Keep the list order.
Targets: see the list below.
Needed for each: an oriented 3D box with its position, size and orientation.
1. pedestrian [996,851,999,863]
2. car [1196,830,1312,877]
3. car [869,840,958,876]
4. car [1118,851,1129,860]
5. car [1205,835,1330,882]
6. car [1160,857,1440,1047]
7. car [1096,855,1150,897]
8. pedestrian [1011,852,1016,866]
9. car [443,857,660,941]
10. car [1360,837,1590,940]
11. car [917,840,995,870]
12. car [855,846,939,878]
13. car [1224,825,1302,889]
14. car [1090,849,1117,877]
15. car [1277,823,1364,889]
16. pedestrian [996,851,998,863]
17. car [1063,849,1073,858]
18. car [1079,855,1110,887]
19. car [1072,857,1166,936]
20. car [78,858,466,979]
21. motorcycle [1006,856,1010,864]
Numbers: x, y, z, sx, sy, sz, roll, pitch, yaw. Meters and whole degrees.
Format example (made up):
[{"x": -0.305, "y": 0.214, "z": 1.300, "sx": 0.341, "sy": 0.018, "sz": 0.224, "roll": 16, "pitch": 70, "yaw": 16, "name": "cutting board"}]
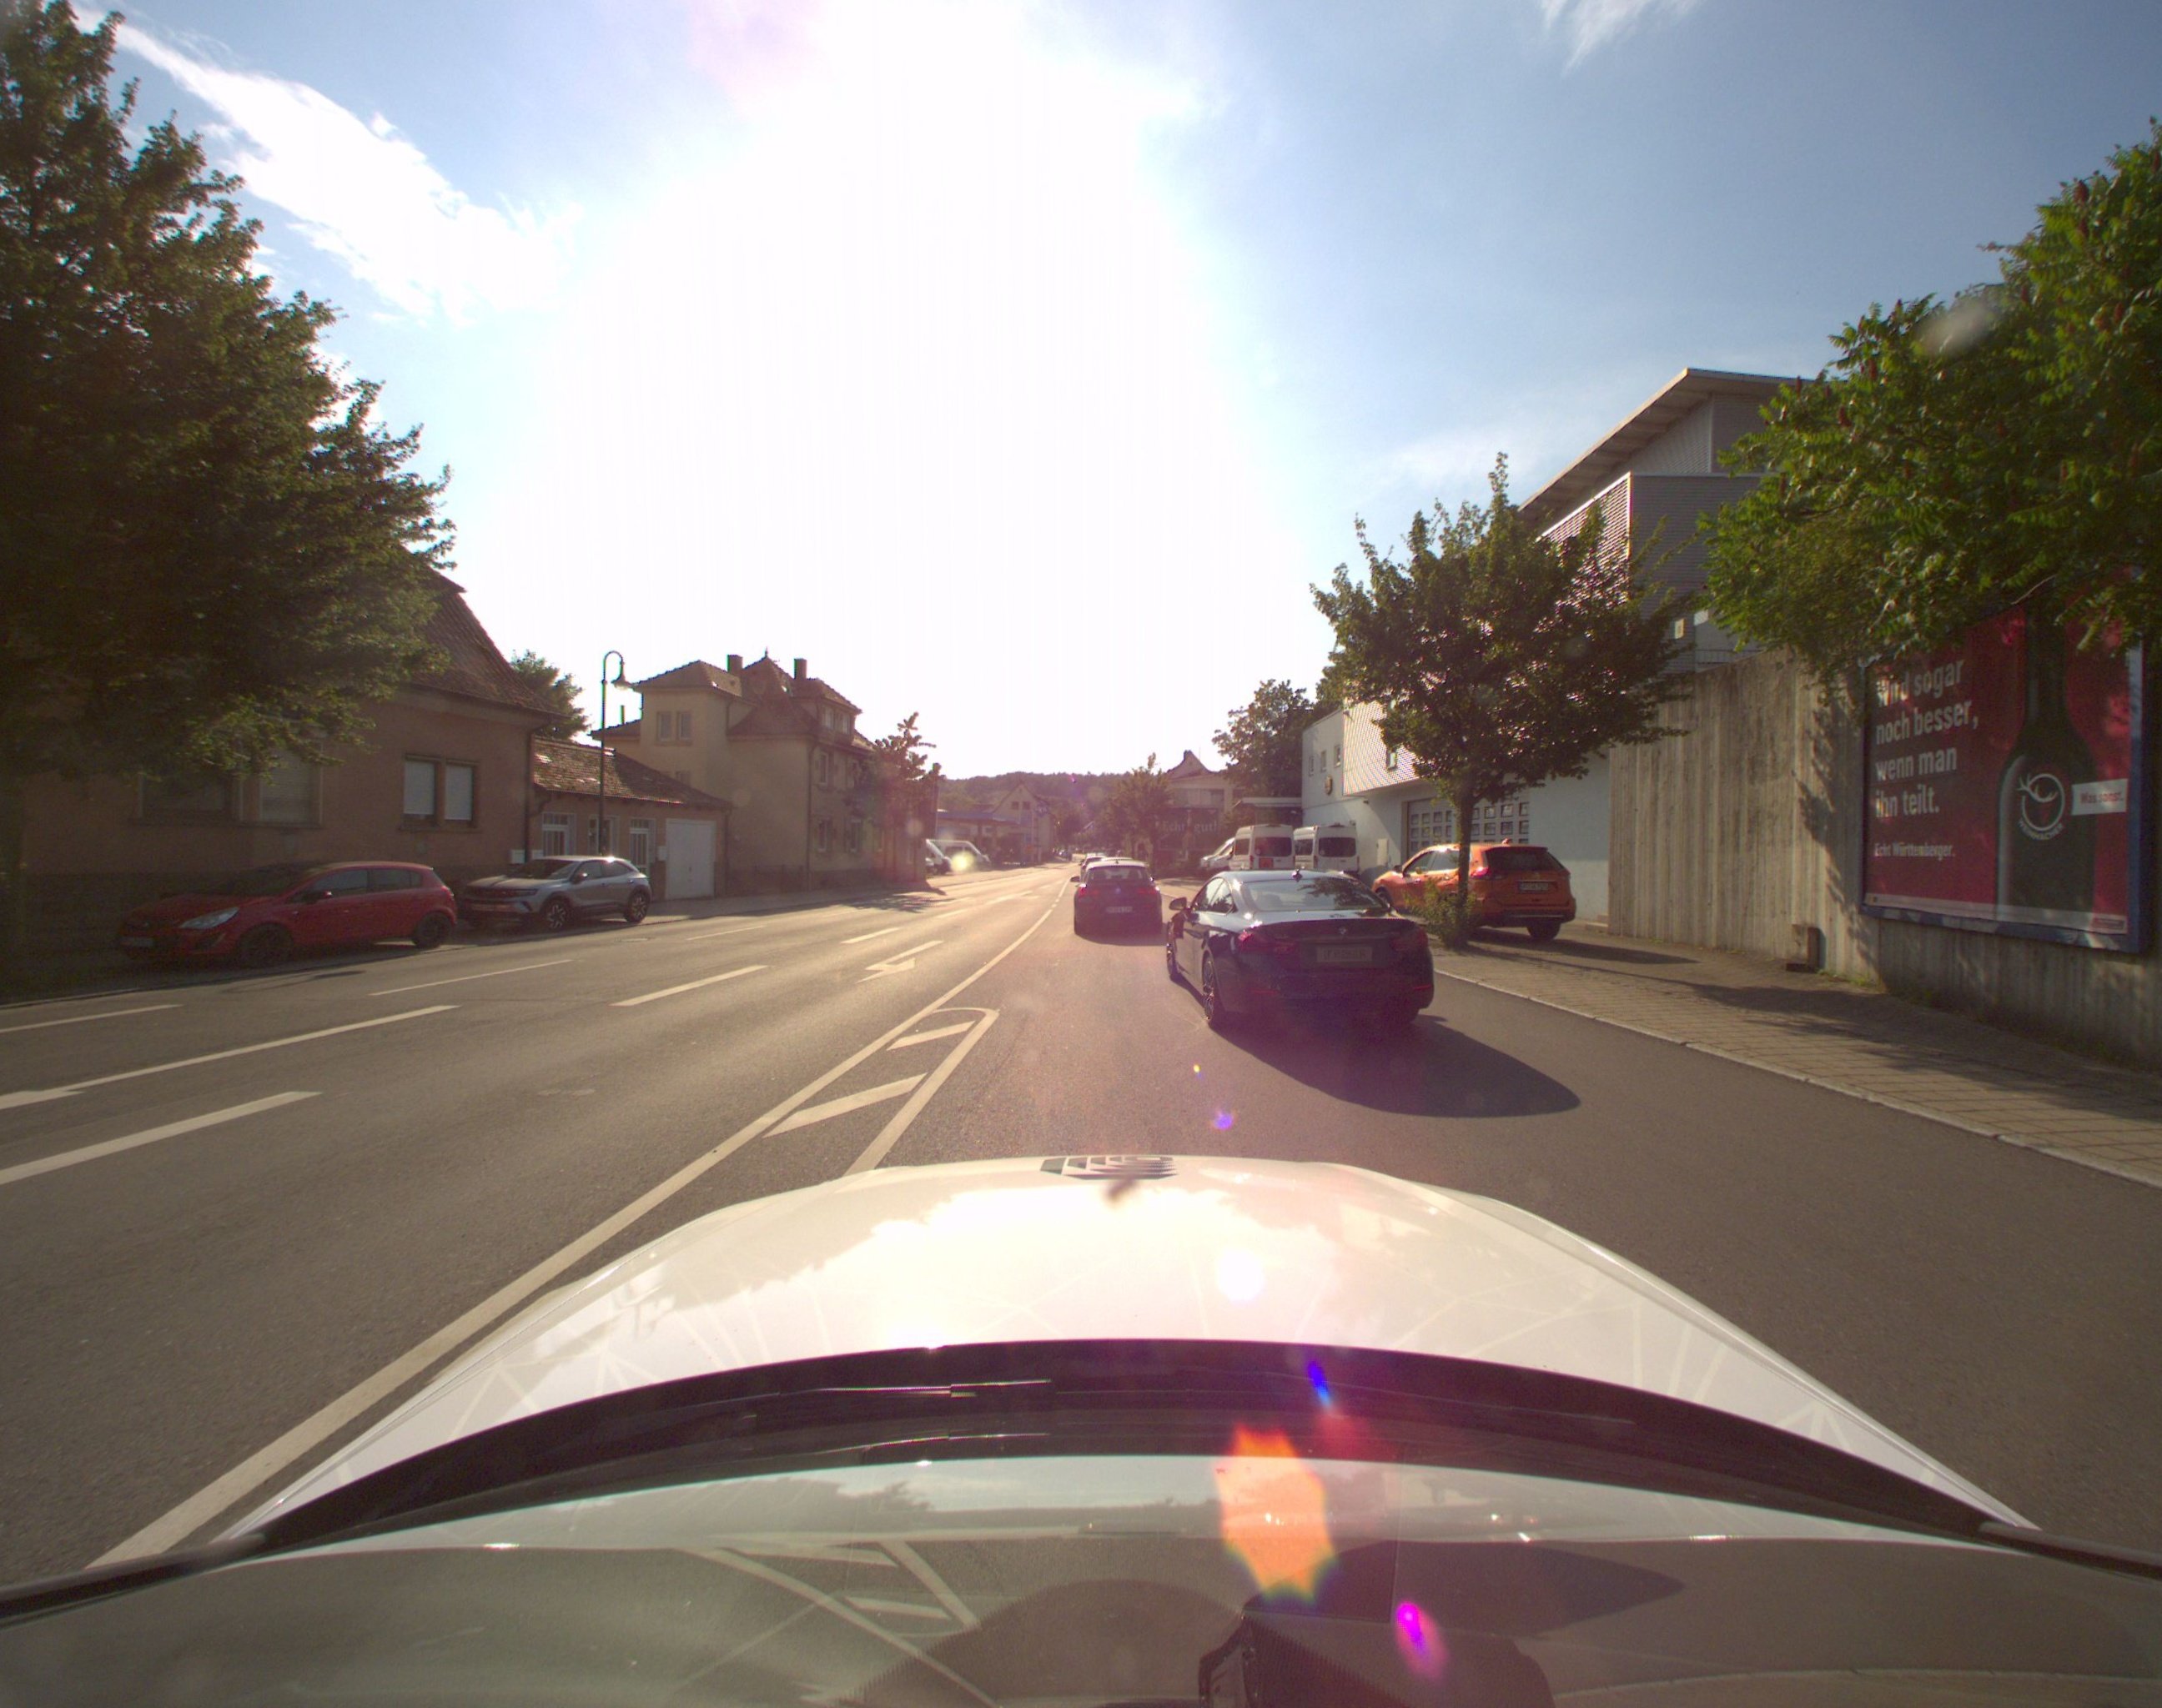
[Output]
[{"x": -10.066, "y": 0.351, "z": 98.495, "sx": 0.286, "sy": 1.366, "sz": 0.262, "roll": 0, "pitch": 0, "yaw": -3, "name": "pedestrian"}, {"x": 9.510, "y": -0.013, "z": 45.079, "sx": 6.025, "sy": 2.516, "sz": 2.043, "roll": 0, "pitch": 0, "yaw": -1, "name": "car"}, {"x": -12.160, "y": 0.255, "z": 59.284, "sx": 5.890, "sy": 2.480, "sz": 2.197, "roll": 1, "pitch": 1, "yaw": 6, "name": "car"}, {"x": 6.947, "y": 0.253, "z": 134.114, "sx": 1.591, "sy": 1.485, "sz": 3.475, "roll": 1, "pitch": 0, "yaw": 1, "name": "car"}, {"x": 9.573, "y": 0.209, "z": 42.120, "sx": 6.025, "sy": 2.363, "sz": 2.043, "roll": 0, "pitch": 0, "yaw": -1, "name": "car"}, {"x": 1.902, "y": 0.763, "z": 8.415, "sx": 1.694, "sy": 1.369, "sz": 4.261, "roll": -1, "pitch": 1, "yaw": -1, "name": "car"}, {"x": 1.524, "y": 0.786, "z": 30.617, "sx": 1.749, "sy": 1.414, "sz": 3.419, "roll": 0, "pitch": 0, "yaw": -2, "name": "car"}, {"x": -8.272, "y": 0.569, "z": 99.887, "sx": 0.608, "sy": 1.670, "sz": 0.442, "roll": 0, "pitch": 0, "yaw": -2, "name": "pedestrian"}, {"x": -11.386, "y": 0.882, "z": 17.905, "sx": 1.746, "sy": 1.479, "sz": 4.009, "roll": 3, "pitch": 1, "yaw": 7, "name": "car"}, {"x": 7.158, "y": 0.547, "z": 15.412, "sx": 1.832, "sy": 1.649, "sz": 4.529, "roll": 0, "pitch": 0, "yaw": -6, "name": "car"}, {"x": -10.542, "y": 0.076, "z": 68.974, "sx": 6.135, "sy": 2.444, "sz": 2.250, "roll": 1, "pitch": 0, "yaw": 1, "name": "car"}, {"x": -11.990, "y": 0.524, "z": 53.290, "sx": 4.953, "sy": 1.999, "sz": 1.938, "roll": 1, "pitch": 0, "yaw": 4, "name": "car"}, {"x": 8.151, "y": 0.088, "z": 37.266, "sx": 2.142, "sy": 2.680, "sz": 6.603, "roll": 0, "pitch": 0, "yaw": 0, "name": "car"}, {"x": 1.485, "y": 0.570, "z": 53.169, "sx": 1.596, "sy": 1.767, "sz": 3.415, "roll": 0, "pitch": 0, "yaw": 4, "name": "car"}, {"x": 10.829, "y": 0.052, "z": 37.370, "sx": 2.104, "sy": 2.722, "sz": 6.442, "roll": 0, "pitch": 0, "yaw": 0, "name": "car"}, {"x": -10.173, "y": 0.367, "z": 98.875, "sx": 0.261, "sy": 1.383, "sz": 0.288, "roll": 0, "pitch": 0, "yaw": 0, "name": "pedestrian"}, {"x": -2.317, "y": -0.113, "z": 146.801, "sx": 1.591, "sy": 1.485, "sz": 3.475, "roll": 1, "pitch": 0, "yaw": 1, "name": "car"}, {"x": 0.706, "y": 0.853, "z": 43.500, "sx": 1.586, "sy": 1.600, "sz": 3.893, "roll": 0, "pitch": 0, "yaw": 0, "name": "car"}, {"x": 0.807, "y": 0.819, "z": 17.242, "sx": 1.764, "sy": 1.456, "sz": 3.518, "roll": -1, "pitch": 0, "yaw": 3, "name": "car"}, {"x": -12.110, "y": 0.846, "z": 12.635, "sx": 1.656, "sy": 1.487, "sz": 4.009, "roll": 3, "pitch": 0, "yaw": 8, "name": "car"}, {"x": -8.923, "y": 0.776, "z": 99.556, "sx": 0.362, "sy": 0.943, "sz": 1.696, "roll": 0, "pitch": 0, "yaw": 0, "name": "motorcycle"}]
